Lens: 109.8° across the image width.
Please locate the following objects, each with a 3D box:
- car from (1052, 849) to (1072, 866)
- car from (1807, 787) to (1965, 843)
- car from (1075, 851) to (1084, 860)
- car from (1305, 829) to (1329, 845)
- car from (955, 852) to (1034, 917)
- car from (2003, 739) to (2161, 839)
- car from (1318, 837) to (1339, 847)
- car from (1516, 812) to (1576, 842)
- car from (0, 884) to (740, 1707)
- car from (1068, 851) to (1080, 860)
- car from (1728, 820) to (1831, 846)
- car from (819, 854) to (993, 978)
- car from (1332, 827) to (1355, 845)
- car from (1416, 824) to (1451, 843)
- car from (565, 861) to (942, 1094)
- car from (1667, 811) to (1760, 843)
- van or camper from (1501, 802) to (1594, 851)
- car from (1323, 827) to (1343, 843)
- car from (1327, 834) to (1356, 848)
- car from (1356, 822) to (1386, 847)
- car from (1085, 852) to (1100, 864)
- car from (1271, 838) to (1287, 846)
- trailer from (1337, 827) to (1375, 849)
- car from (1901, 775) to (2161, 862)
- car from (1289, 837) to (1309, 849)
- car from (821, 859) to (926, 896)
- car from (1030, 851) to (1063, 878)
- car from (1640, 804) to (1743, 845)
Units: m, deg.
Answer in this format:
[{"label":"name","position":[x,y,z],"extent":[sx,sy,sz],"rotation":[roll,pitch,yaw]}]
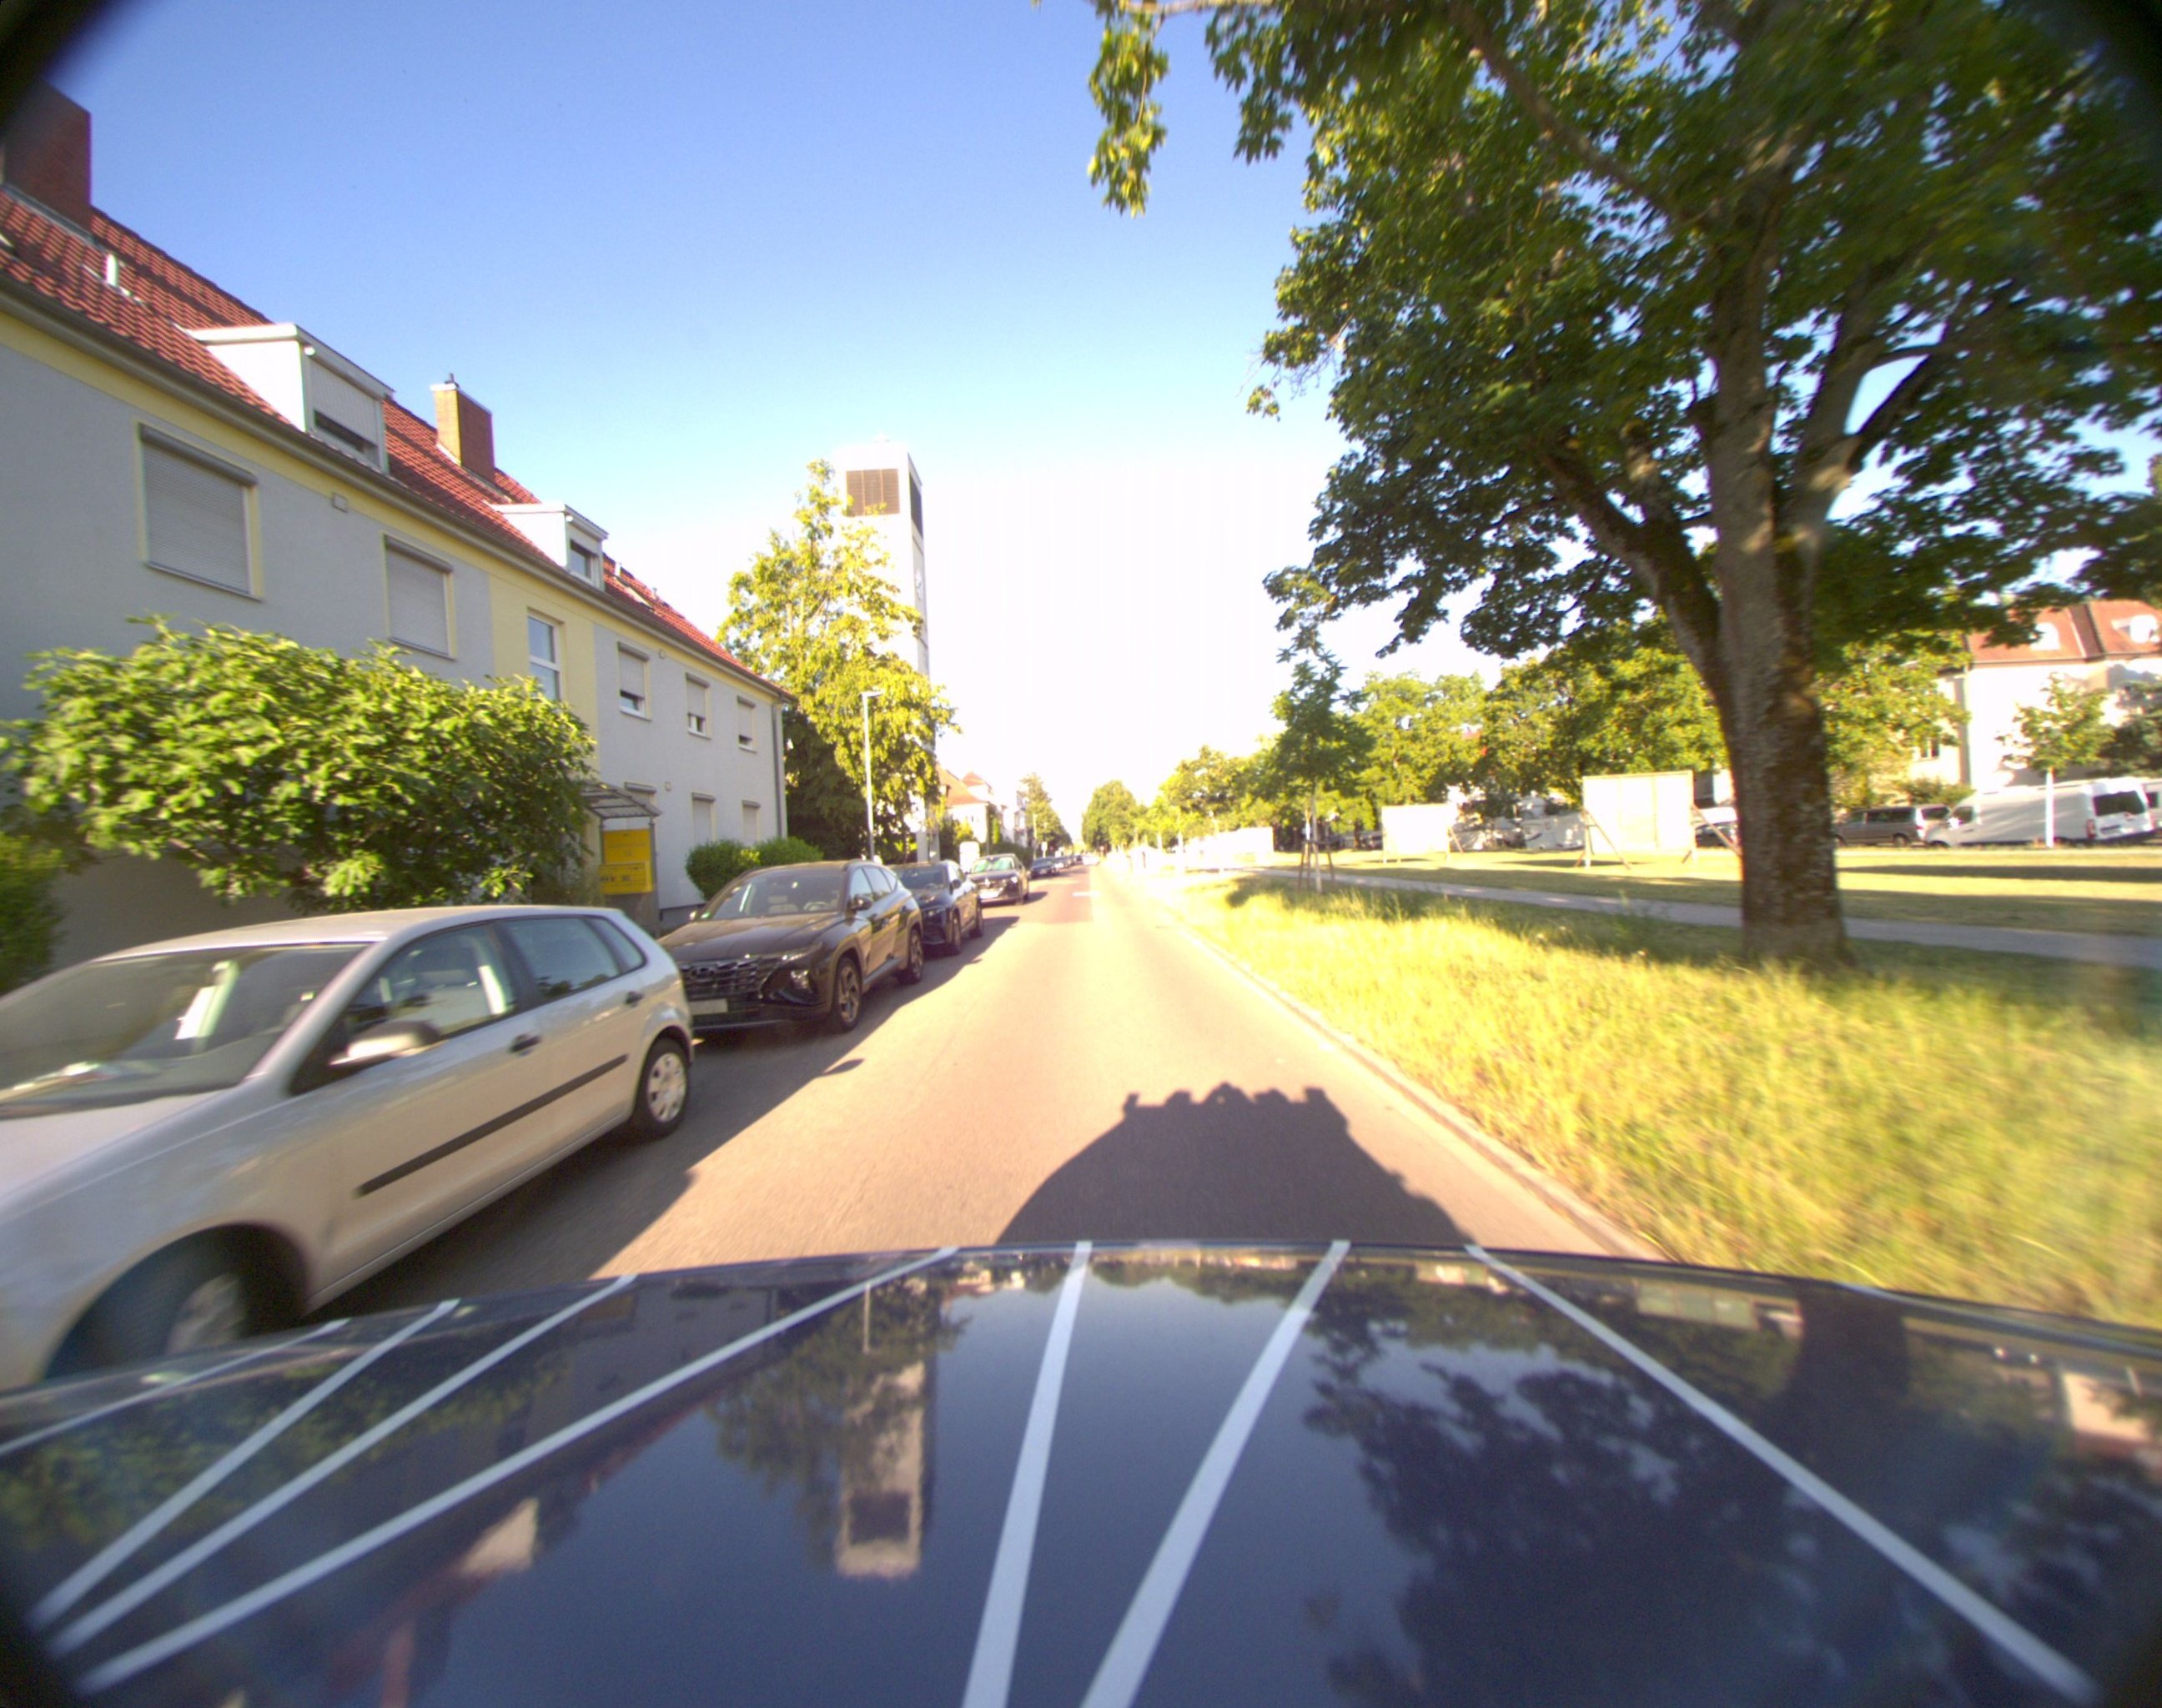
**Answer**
[{"label":"car","position":[-2.157,0.416,86.205],"extent":[1.999,1.588,4.885],"rotation":[-7,1,0]},{"label":"car","position":[40.250,-1.902,38.250],"extent":[2.141,2.589,5.324],"rotation":[1,1,-1]},{"label":"car","position":[-0.388,0.440,188.071],"extent":[1.998,2.179,4.001],"rotation":[-2,0,2]},{"label":"car","position":[35.253,-2.478,113.692],"extent":[1.999,2.161,4.571],"rotation":[-2,0,-1]},{"label":"car","position":[-2.734,0.896,25.076],"extent":[1.837,1.722,5.031],"rotation":[-5,1,0]},{"label":"car","position":[39.958,-2.363,28.557],"extent":[2.309,3.539,6.764],"rotation":[1,1,1]},{"label":"car","position":[35.169,-1.762,108.106],"extent":[1.857,1.308,4.042],"rotation":[-4,1,4]},{"label":"car","position":[34.505,-1.936,56.531],"extent":[1.998,2.002,4.000],"rotation":[-3,0,2]},{"label":"car","position":[-3.224,1.109,2.999],"extent":[1.732,1.539,4.206],"rotation":[-7,1,-1]},{"label":"car","position":[-1.391,0.264,151.128],"extent":[2.111,1.396,4.132],"rotation":[-8,0,1]},{"label":"car","position":[40.541,-1.200,44.276],"extent":[1.998,1.395,4.562],"rotation":[1,1,5]},{"label":"car","position":[-2.955,0.949,13.962],"extent":[1.938,1.710,4.621],"rotation":[-5,0,1]},{"label":"car","position":[41.265,-2.829,119.458],"extent":[1.950,2.625,5.043],"rotation":[1,1,1]},{"label":"car","position":[40.939,-2.361,88.433],"extent":[1.894,1.901,4.714],"rotation":[-3,0,2]},{"label":"car","position":[-3.002,0.996,8.351],"extent":[1.859,1.647,4.820],"rotation":[-4,0,1]},{"label":"car","position":[34.108,-1.418,41.130],"extent":[1.417,1.555,4.309],"rotation":[-3,0,0]},{"label":"van or camper","position":[34.505,-1.936,56.531],"extent":[2.648,3.243,6.905],"rotation":[-3,0,2]},{"label":"car","position":[41.226,-3.070,124.302],"extent":[1.998,2.527,3.999],"rotation":[-2,2,1]},{"label":"car","position":[35.210,-1.730,102.848],"extent":[1.999,1.632,4.950],"rotation":[-4,1,-1]},{"label":"car","position":[40.970,-2.709,107.512],"extent":[1.998,3.230,6.075],"rotation":[-2,0,1]},{"label":"car","position":[1.538,0.531,102.372],"extent":[1.998,1.483,4.000],"rotation":[-3,0,0]},{"label":"car","position":[41.764,-2.532,160.320],"extent":[1.999,1.490,3.999],"rotation":[-2,0,-4]},{"label":"trailer","position":[34.994,-2.064,97.000],"extent":[2.479,2.644,6.635],"rotation":[1,1,0]},{"label":"car","position":[34.167,-1.214,27.670],"extent":[2.266,2.810,5.870],"rotation":[1,1,1]},{"label":"car","position":[35.502,-1.768,123.744],"extent":[1.999,1.718,4.344],"rotation":[-2,0,0]},{"label":"car","position":[-10.844,1.231,39.927],"extent":[4.859,1.478,2.001],"rotation":[-3,4,0]},{"label":"car","position":[-2.416,0.717,54.199],"extent":[1.827,1.552,4.622],"rotation":[-9,0,2]},{"label":"car","position":[40.911,-1.925,51.196],"extent":[1.998,2.583,6.089],"rotation":[1,1,1]}]
